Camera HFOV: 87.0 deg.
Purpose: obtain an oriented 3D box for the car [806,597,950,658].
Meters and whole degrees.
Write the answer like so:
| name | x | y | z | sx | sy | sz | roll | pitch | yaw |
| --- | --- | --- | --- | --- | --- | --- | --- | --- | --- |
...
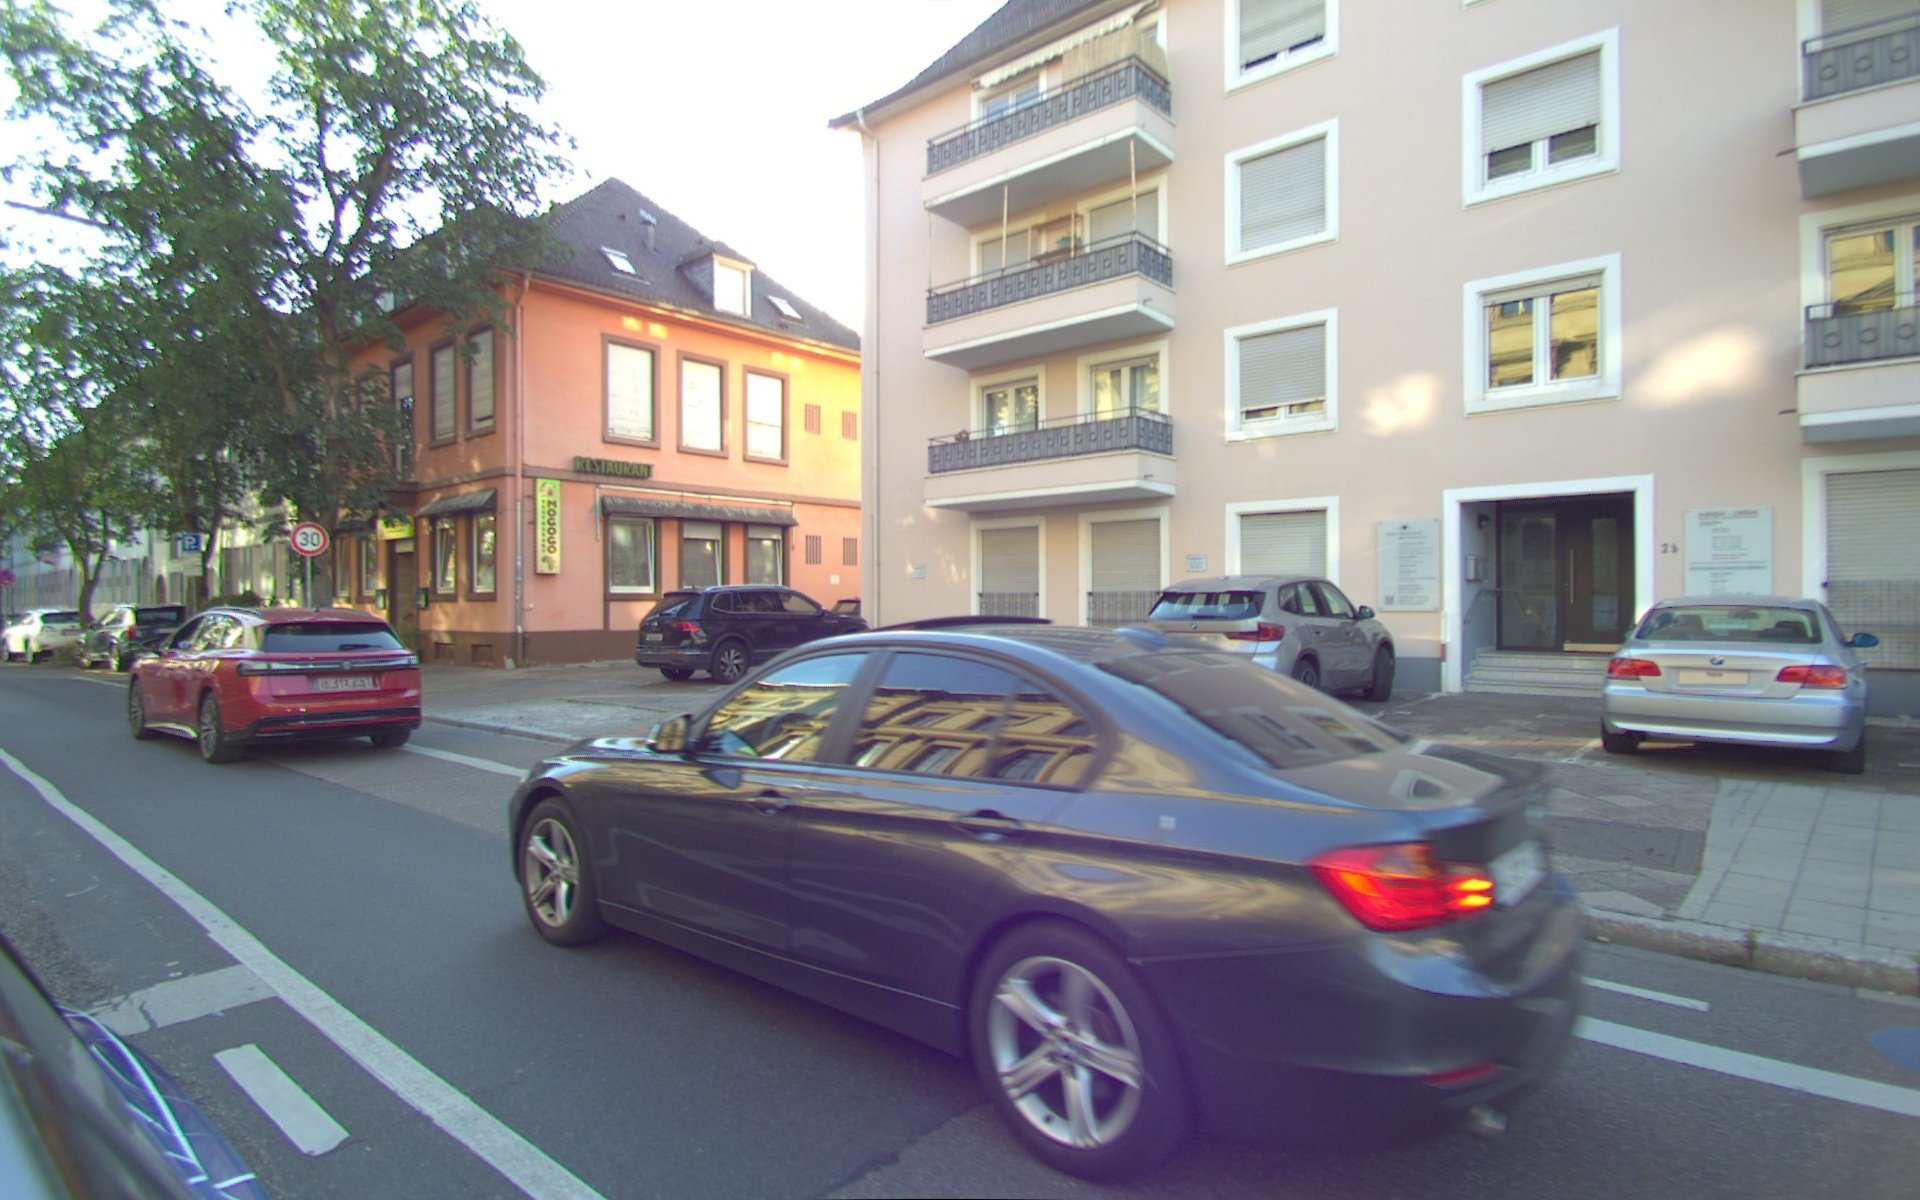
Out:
| name | x | y | z | sx | sy | sz | roll | pitch | yaw |
| --- | --- | --- | --- | --- | --- | --- | --- | --- | --- |
| car | -2.202 | 0.705 | 27.815 | 1.884 | 1.567 | 3.762 | -1 | 0 | 39 |

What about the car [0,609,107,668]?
| name | x | y | z | sx | sy | sz | roll | pitch | yaw |
| --- | --- | --- | --- | --- | --- | --- | --- | --- | --- |
| car | -29.854 | 1.199 | 33.058 | 4.645 | 1.680 | 1.813 | -1 | 3 | 35 |

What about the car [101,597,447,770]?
| name | x | y | z | sx | sy | sz | roll | pitch | yaw |
| --- | --- | --- | --- | --- | --- | --- | --- | --- | --- |
| car | -7.832 | 0.815 | 11.364 | 4.840 | 1.557 | 1.813 | -1 | -2 | 38 |

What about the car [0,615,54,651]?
| name | x | y | z | sx | sy | sz | roll | pitch | yaw |
| --- | --- | --- | --- | --- | --- | --- | --- | --- | --- |
| car | -43.739 | 1.493 | 45.641 | 1.801 | 1.557 | 4.172 | -1 | -1 | 43 |

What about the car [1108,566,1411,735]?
| name | x | y | z | sx | sy | sz | roll | pitch | yaw |
| --- | --- | --- | --- | --- | --- | --- | --- | --- | --- |
| car | 3.759 | 0.446 | 12.148 | 1.914 | 1.617 | 4.374 | -1 | 1 | 39 |

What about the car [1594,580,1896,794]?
| name | x | y | z | sx | sy | sz | roll | pitch | yaw |
| --- | --- | --- | --- | --- | --- | --- | --- | --- | --- |
| car | 7.035 | 0.571 | 9.091 | 1.734 | 1.391 | 4.224 | -1 | 1 | 39 |

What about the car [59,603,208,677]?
| name | x | y | z | sx | sy | sz | roll | pitch | yaw |
| --- | --- | --- | --- | --- | --- | --- | --- | --- | --- |
| car | -22.984 | 1.053 | 28.083 | 5.037 | 1.772 | 1.813 | -1 | 3 | 35 |

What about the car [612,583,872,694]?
| name | x | y | z | sx | sy | sz | roll | pitch | yaw |
| --- | --- | --- | --- | --- | --- | --- | --- | --- | --- |
| car | -3.817 | 0.593 | 18.351 | 1.862 | 1.677 | 4.375 | -1 | 1 | 39 |

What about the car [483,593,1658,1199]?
| name | x | y | z | sx | sy | sz | roll | pitch | yaw |
| --- | --- | --- | --- | --- | --- | --- | --- | --- | --- |
| car | -0.011 | 0.746 | 4.012 | 4.421 | 1.470 | 1.764 | 0 | -1 | 41 |

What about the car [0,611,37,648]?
| name | x | y | z | sx | sy | sz | roll | pitch | yaw |
| --- | --- | --- | --- | --- | --- | --- | --- | --- | --- |
| car | -46.002 | 1.401 | 47.202 | 1.798 | 1.702 | 4.178 | -1 | -1 | 38 |
